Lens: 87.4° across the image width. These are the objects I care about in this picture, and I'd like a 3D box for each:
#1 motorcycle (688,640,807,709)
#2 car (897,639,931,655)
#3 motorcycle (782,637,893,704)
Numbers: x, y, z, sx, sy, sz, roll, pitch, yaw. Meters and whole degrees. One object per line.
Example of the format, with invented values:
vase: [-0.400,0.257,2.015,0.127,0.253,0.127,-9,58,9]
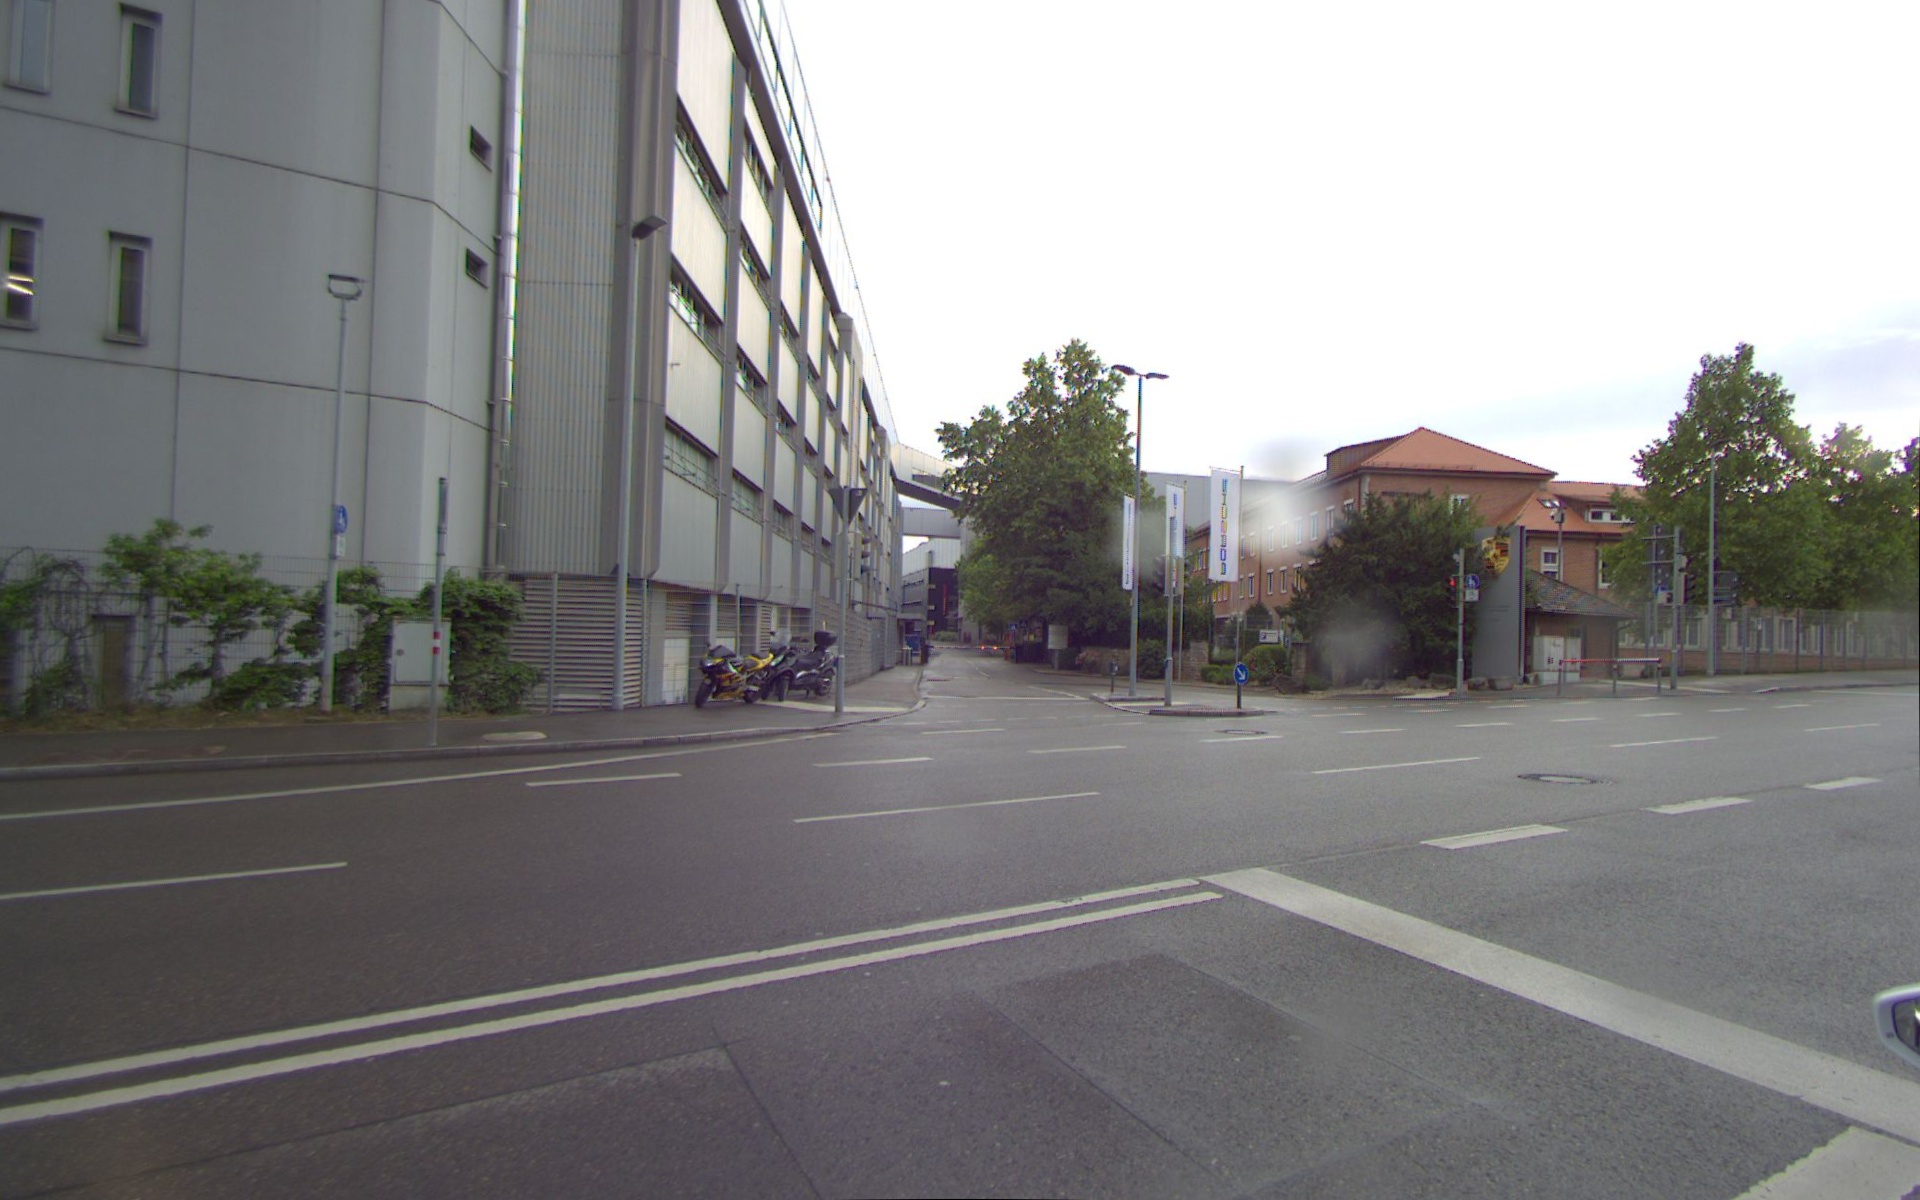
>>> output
motorcycle: [-4.071,1.407,19.508,0.759,1.234,2.504,0,-2,30]
car: [-5.993,6.104,130.568,3.914,1.848,1.955,3,0,-31]
motorcycle: [-2.619,1.496,21.945,1.008,1.355,2.772,-1,-2,27]
